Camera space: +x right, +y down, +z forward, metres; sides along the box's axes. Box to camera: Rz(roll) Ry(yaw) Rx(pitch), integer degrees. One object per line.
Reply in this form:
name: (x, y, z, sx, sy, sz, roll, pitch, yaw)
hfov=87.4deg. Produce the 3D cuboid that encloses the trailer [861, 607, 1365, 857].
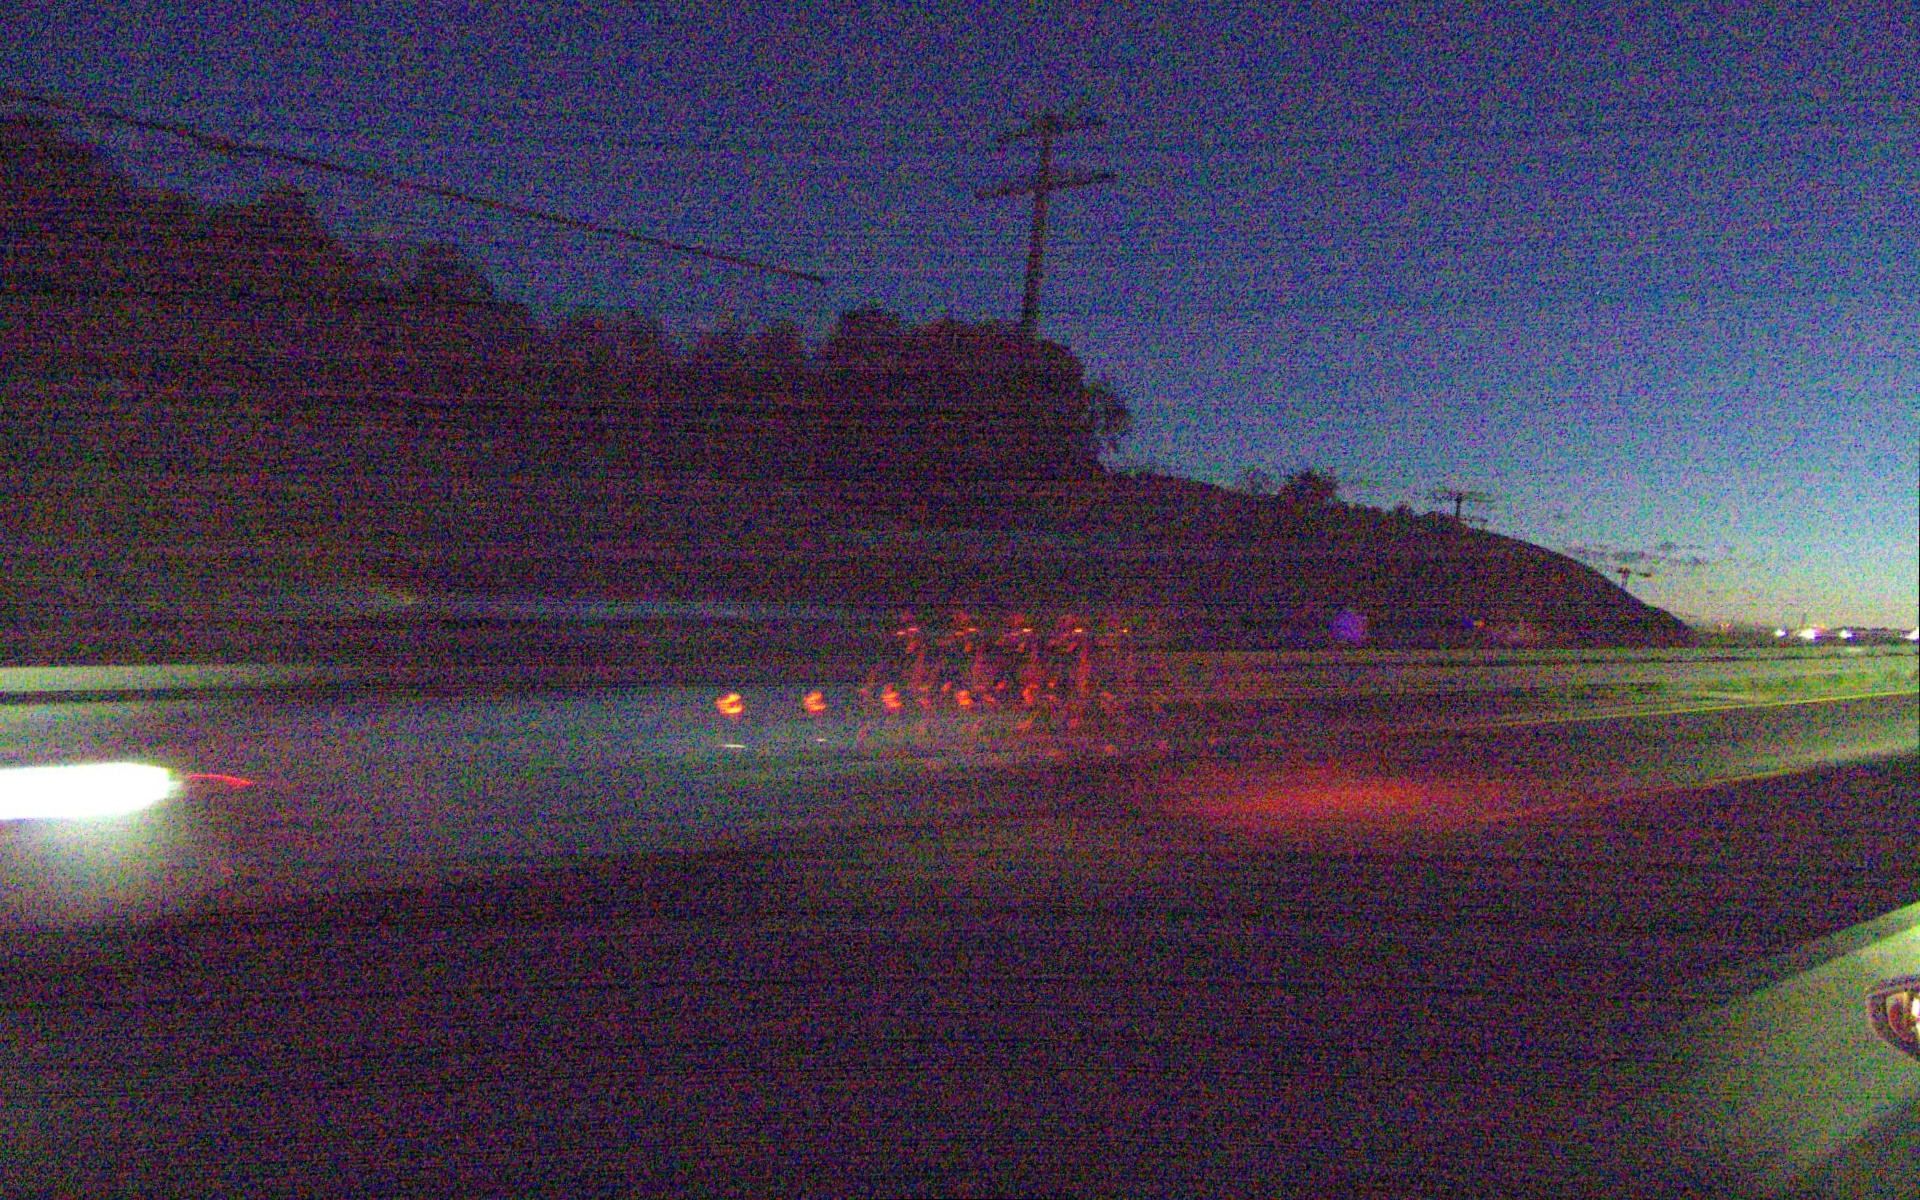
trailer: (1.158, 0.805, 7.483, 3.313, 1.445, 1.874, 1, -1, -32)

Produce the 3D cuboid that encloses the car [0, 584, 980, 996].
car: (-2.456, 0.712, 5.225, 4.897, 1.445, 1.902, 1, -1, -32)
